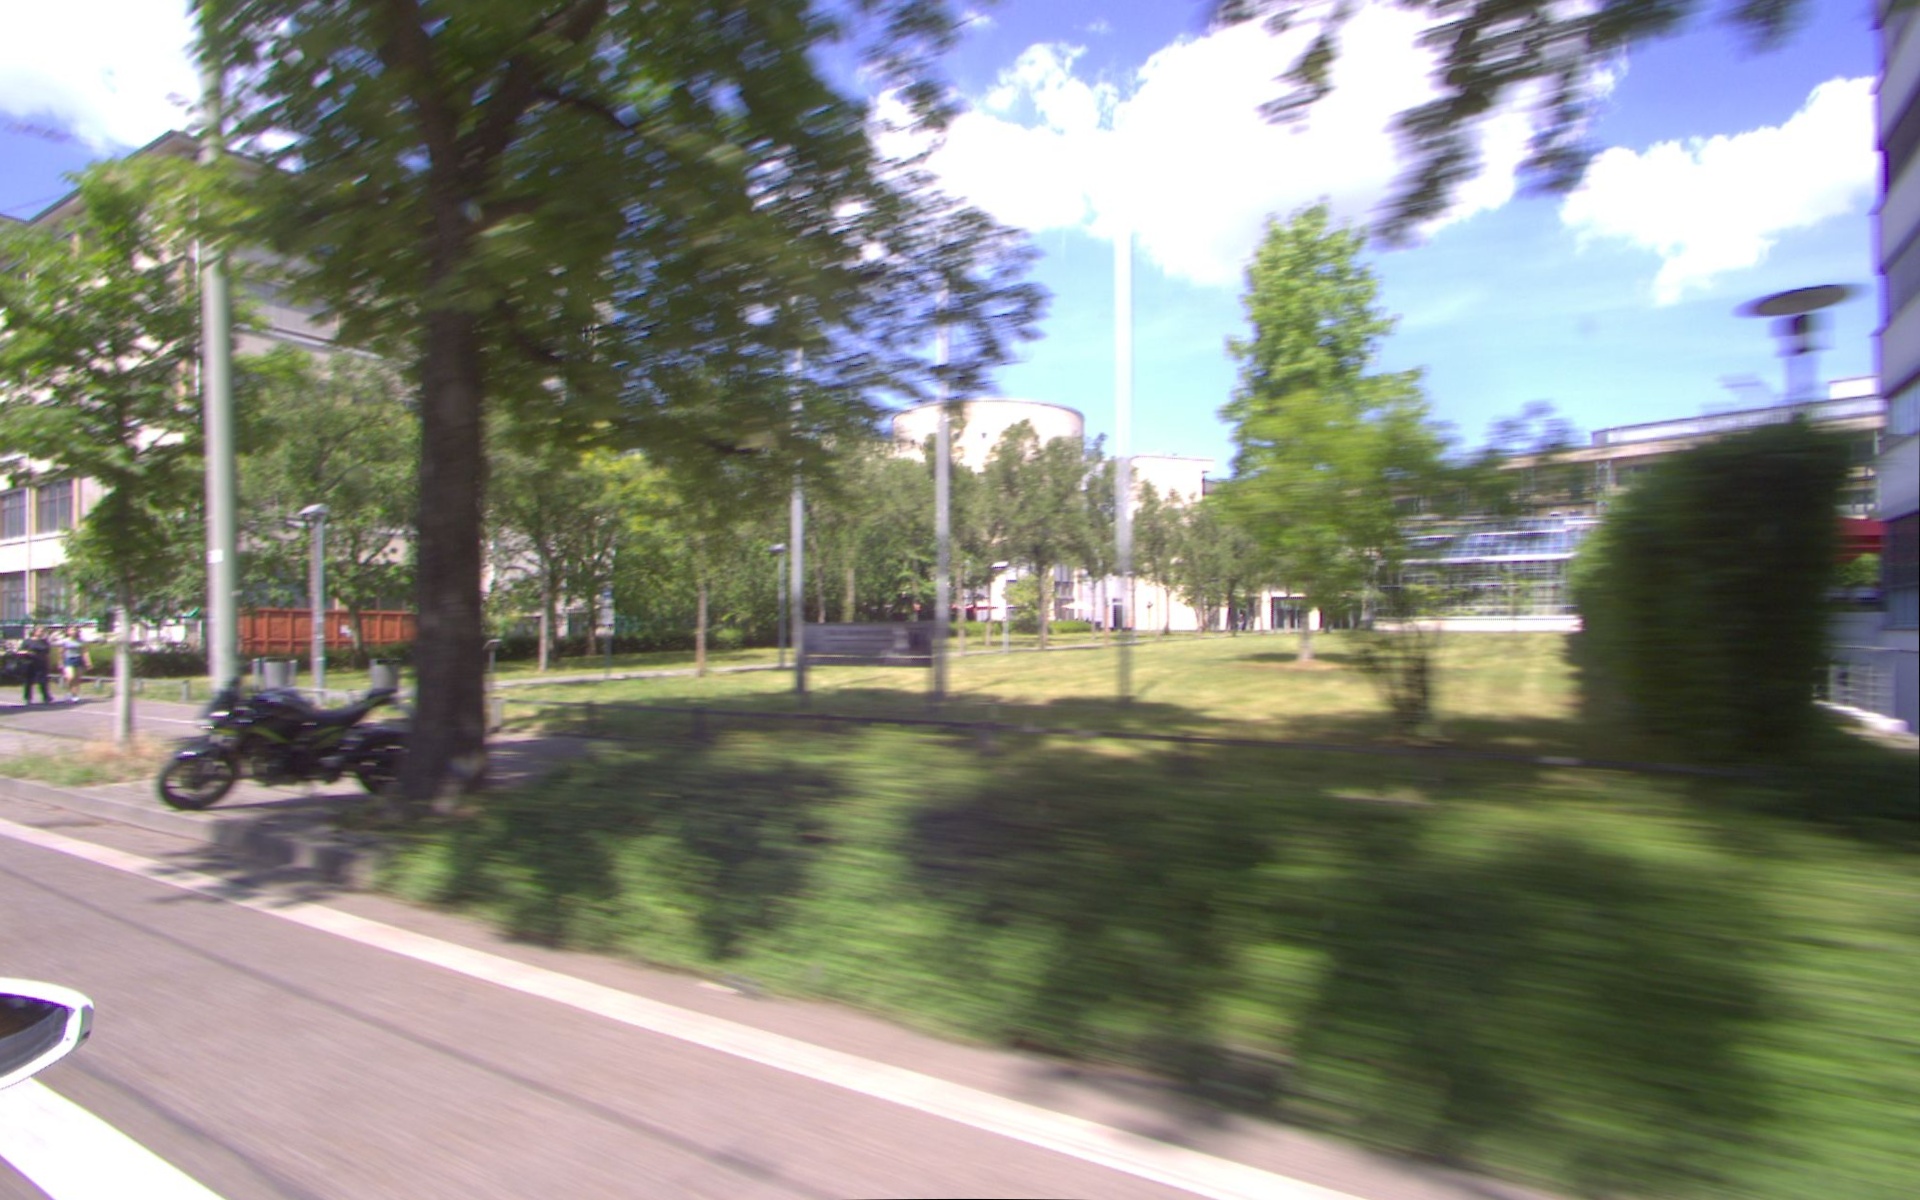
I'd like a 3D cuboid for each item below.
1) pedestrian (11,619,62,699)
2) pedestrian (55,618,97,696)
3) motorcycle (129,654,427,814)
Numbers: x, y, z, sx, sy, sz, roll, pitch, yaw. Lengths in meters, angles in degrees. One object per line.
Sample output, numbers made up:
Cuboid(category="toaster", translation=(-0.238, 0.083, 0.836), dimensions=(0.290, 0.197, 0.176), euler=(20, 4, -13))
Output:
Cuboid(category="pedestrian", translation=(-19.004, 1.200, 20.603), dimensions=(0.602, 1.594, 0.617), euler=(-1, 1, 32))
Cuboid(category="pedestrian", translation=(-18.688, 1.194, 21.162), dimensions=(0.537, 1.594, 0.511), euler=(-1, 1, 32))
Cuboid(category="motorcycle", translation=(-5.787, 1.103, 8.630), dimensions=(2.026, 1.228, 0.612), euler=(0, -2, -19))
